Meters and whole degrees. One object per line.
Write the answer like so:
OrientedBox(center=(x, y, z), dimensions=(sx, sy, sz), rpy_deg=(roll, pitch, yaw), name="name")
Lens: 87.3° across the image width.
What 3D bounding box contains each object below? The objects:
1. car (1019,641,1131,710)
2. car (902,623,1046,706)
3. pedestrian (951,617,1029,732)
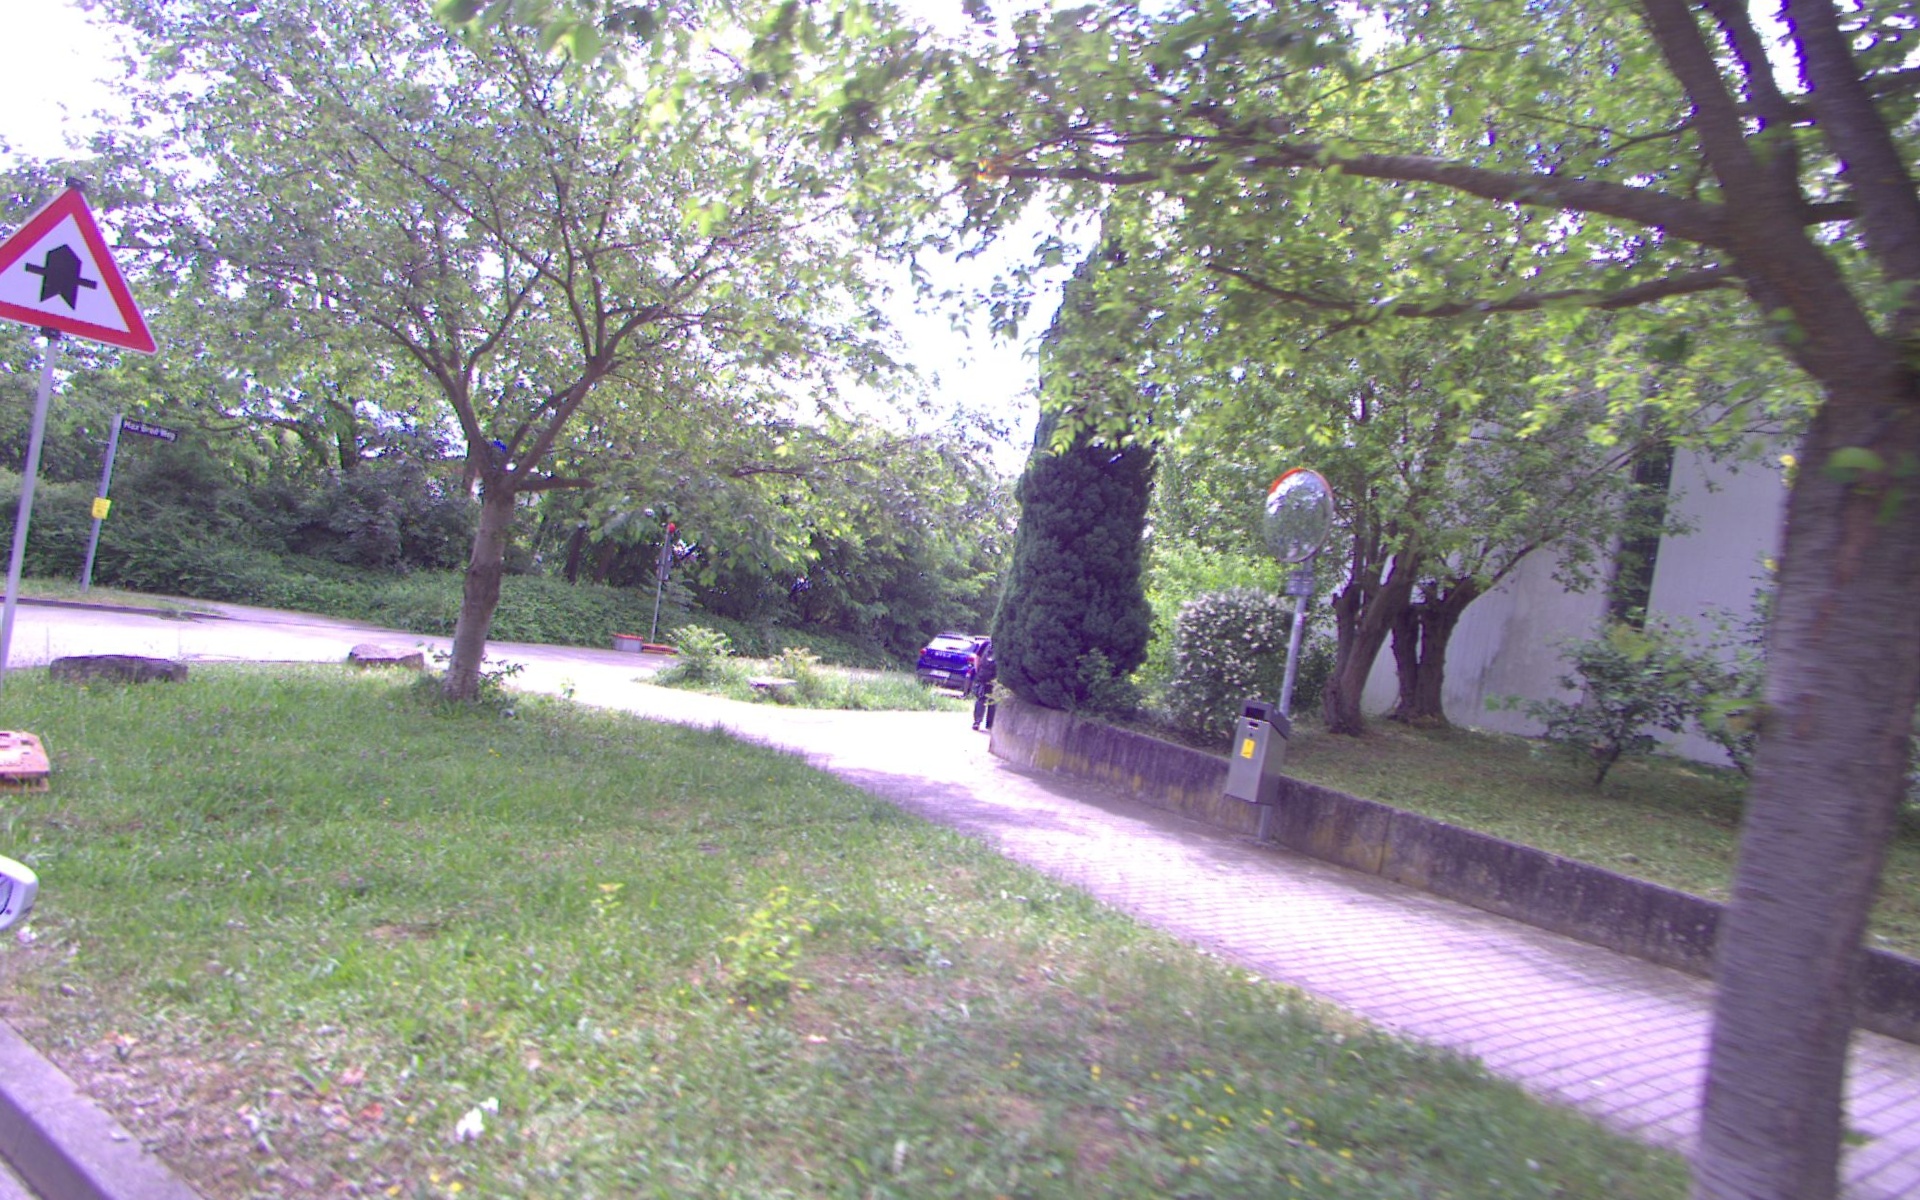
OrientedBox(center=(3.522, 2.304, 30.181), dimensions=(1.699, 1.680, 3.996), rpy_deg=(6, -3, 31), name="car")
OrientedBox(center=(0.451, 1.672, 25.359), dimensions=(1.699, 1.680, 3.996), rpy_deg=(6, -3, 31), name="car")
OrientedBox(center=(0.497, 1.228, 16.497), dimensions=(0.773, 1.757, 0.834), rpy_deg=(7, -1, 31), name="pedestrian")
